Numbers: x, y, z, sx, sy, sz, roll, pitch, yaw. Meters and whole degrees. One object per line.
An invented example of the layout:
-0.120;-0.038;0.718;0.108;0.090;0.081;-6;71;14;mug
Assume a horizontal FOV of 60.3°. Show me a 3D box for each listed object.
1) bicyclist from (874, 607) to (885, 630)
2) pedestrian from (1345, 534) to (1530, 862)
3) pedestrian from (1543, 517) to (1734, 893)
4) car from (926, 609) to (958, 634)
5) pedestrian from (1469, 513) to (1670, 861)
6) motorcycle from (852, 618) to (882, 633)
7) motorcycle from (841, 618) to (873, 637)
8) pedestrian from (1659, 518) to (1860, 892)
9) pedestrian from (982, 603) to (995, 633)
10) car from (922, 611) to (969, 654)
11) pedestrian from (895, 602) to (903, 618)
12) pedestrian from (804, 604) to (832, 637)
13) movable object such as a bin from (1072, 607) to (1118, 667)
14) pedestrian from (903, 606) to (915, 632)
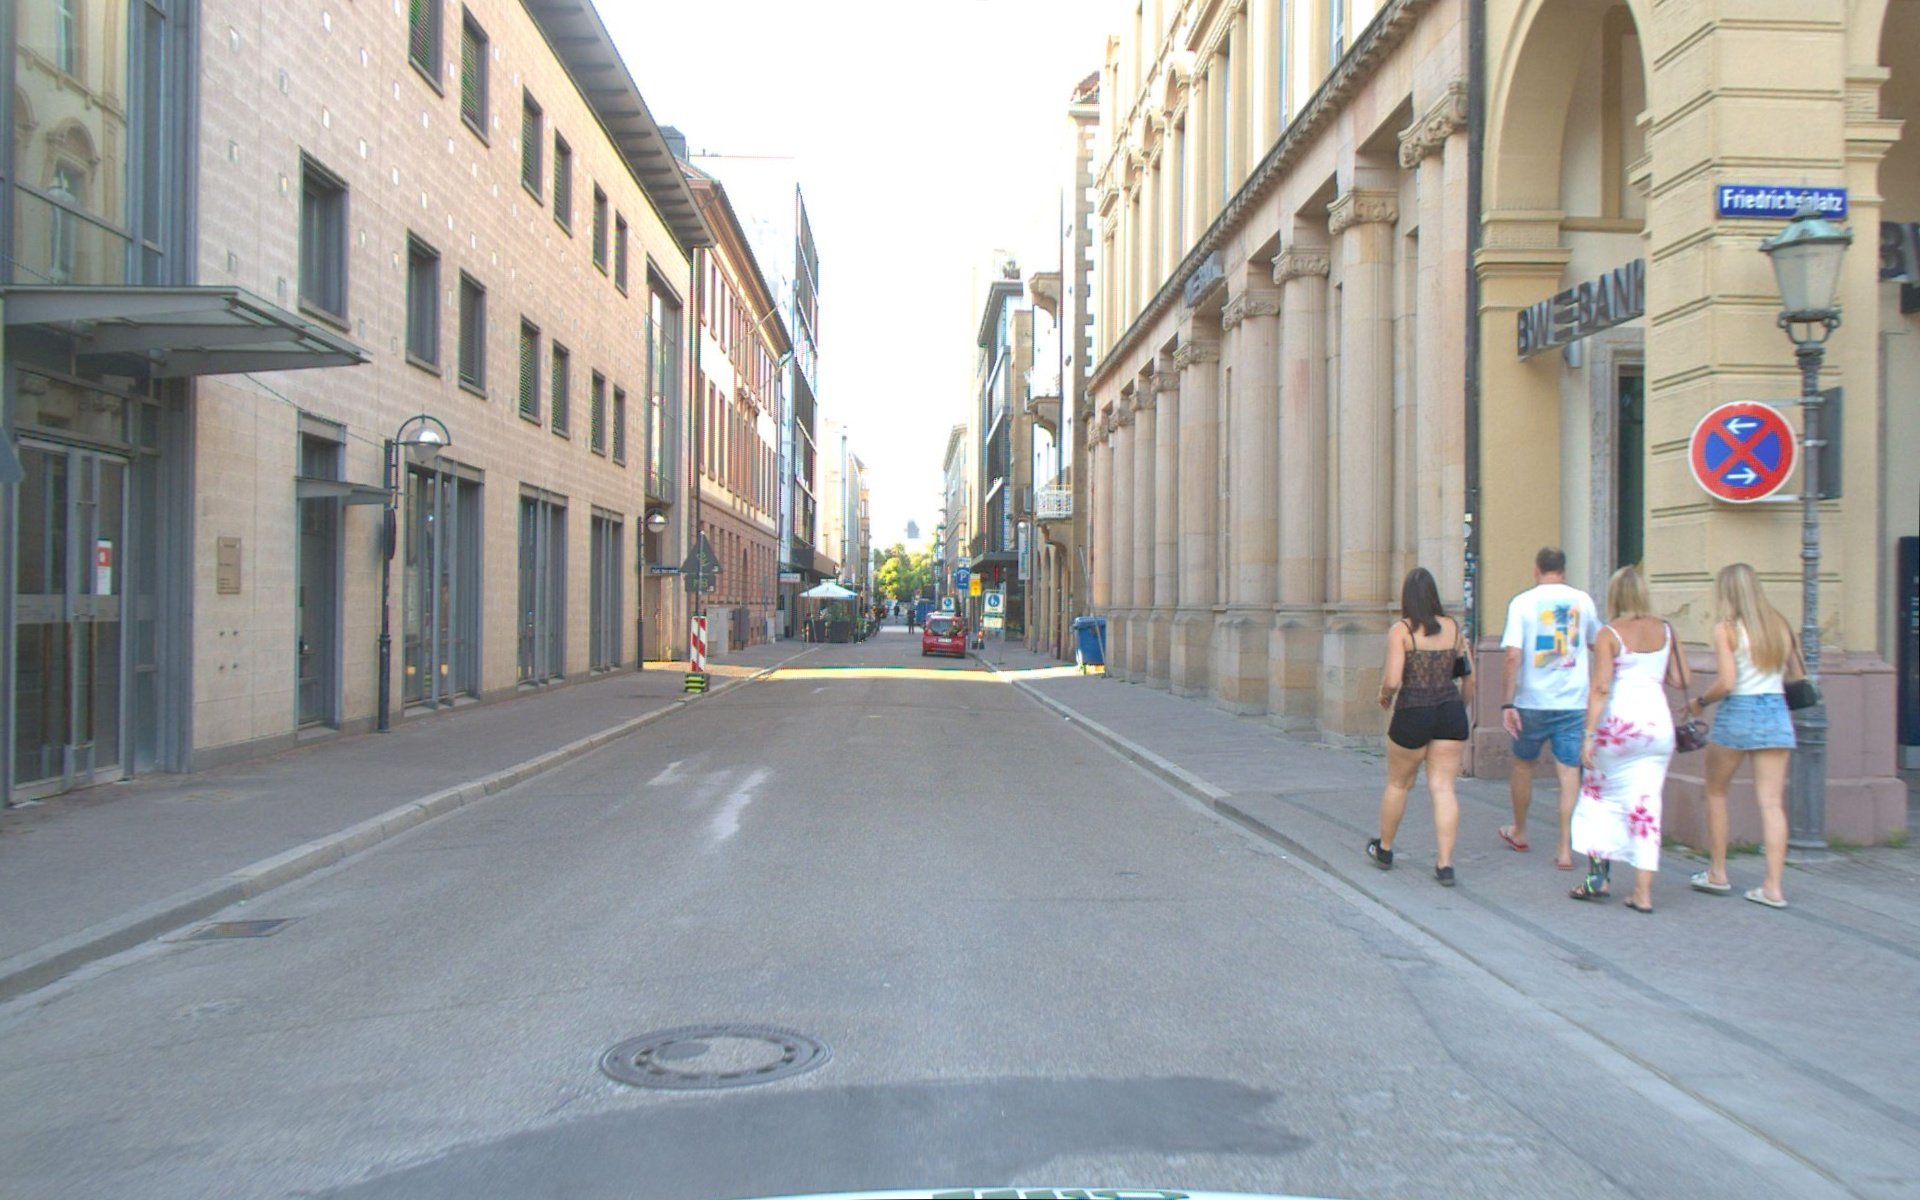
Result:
-5.742;1.304;118.087;0.625;1.669;0.770;-1;0;-11;bicyclist
2.701;0.531;9.440;0.760;1.777;0.874;0;-1;-3;pedestrian
3.467;0.514;8.503;0.623;1.835;0.771;0;-1;-3;pedestrian
-1.252;1.419;110.547;1.954;1.639;3.997;0;0;-3;car
3.493;0.479;9.545;0.795;1.908;0.874;0;-1;-3;pedestrian
-5.662;1.543;100.729;1.766;0.891;0.560;0;-1;-6;motorcycle
-5.772;1.531;92.533;1.766;1.059;0.493;0;-1;-6;motorcycle
4.106;0.517;8.543;0.623;1.835;0.771;0;-1;-3;pedestrian
1.426;0.890;82.647;0.643;1.514;0.493;0;-1;0;pedestrian
-0.552;1.179;61.020;1.616;1.452;3.534;3;-1;-1;car
-6.462;1.075;175.941;0.788;1.702;0.888;0;-1;0;pedestrian
-6.585;0.942;76.677;1.265;1.514;0.661;0;-1;-4;pedestrian
3.276;0.883;40.236;0.970;1.416;1.240;-1;0;-3;movable object such as a bin
-3.515;1.316;114.144;0.848;1.743;0.852;0;-1;-2;pedestrian
